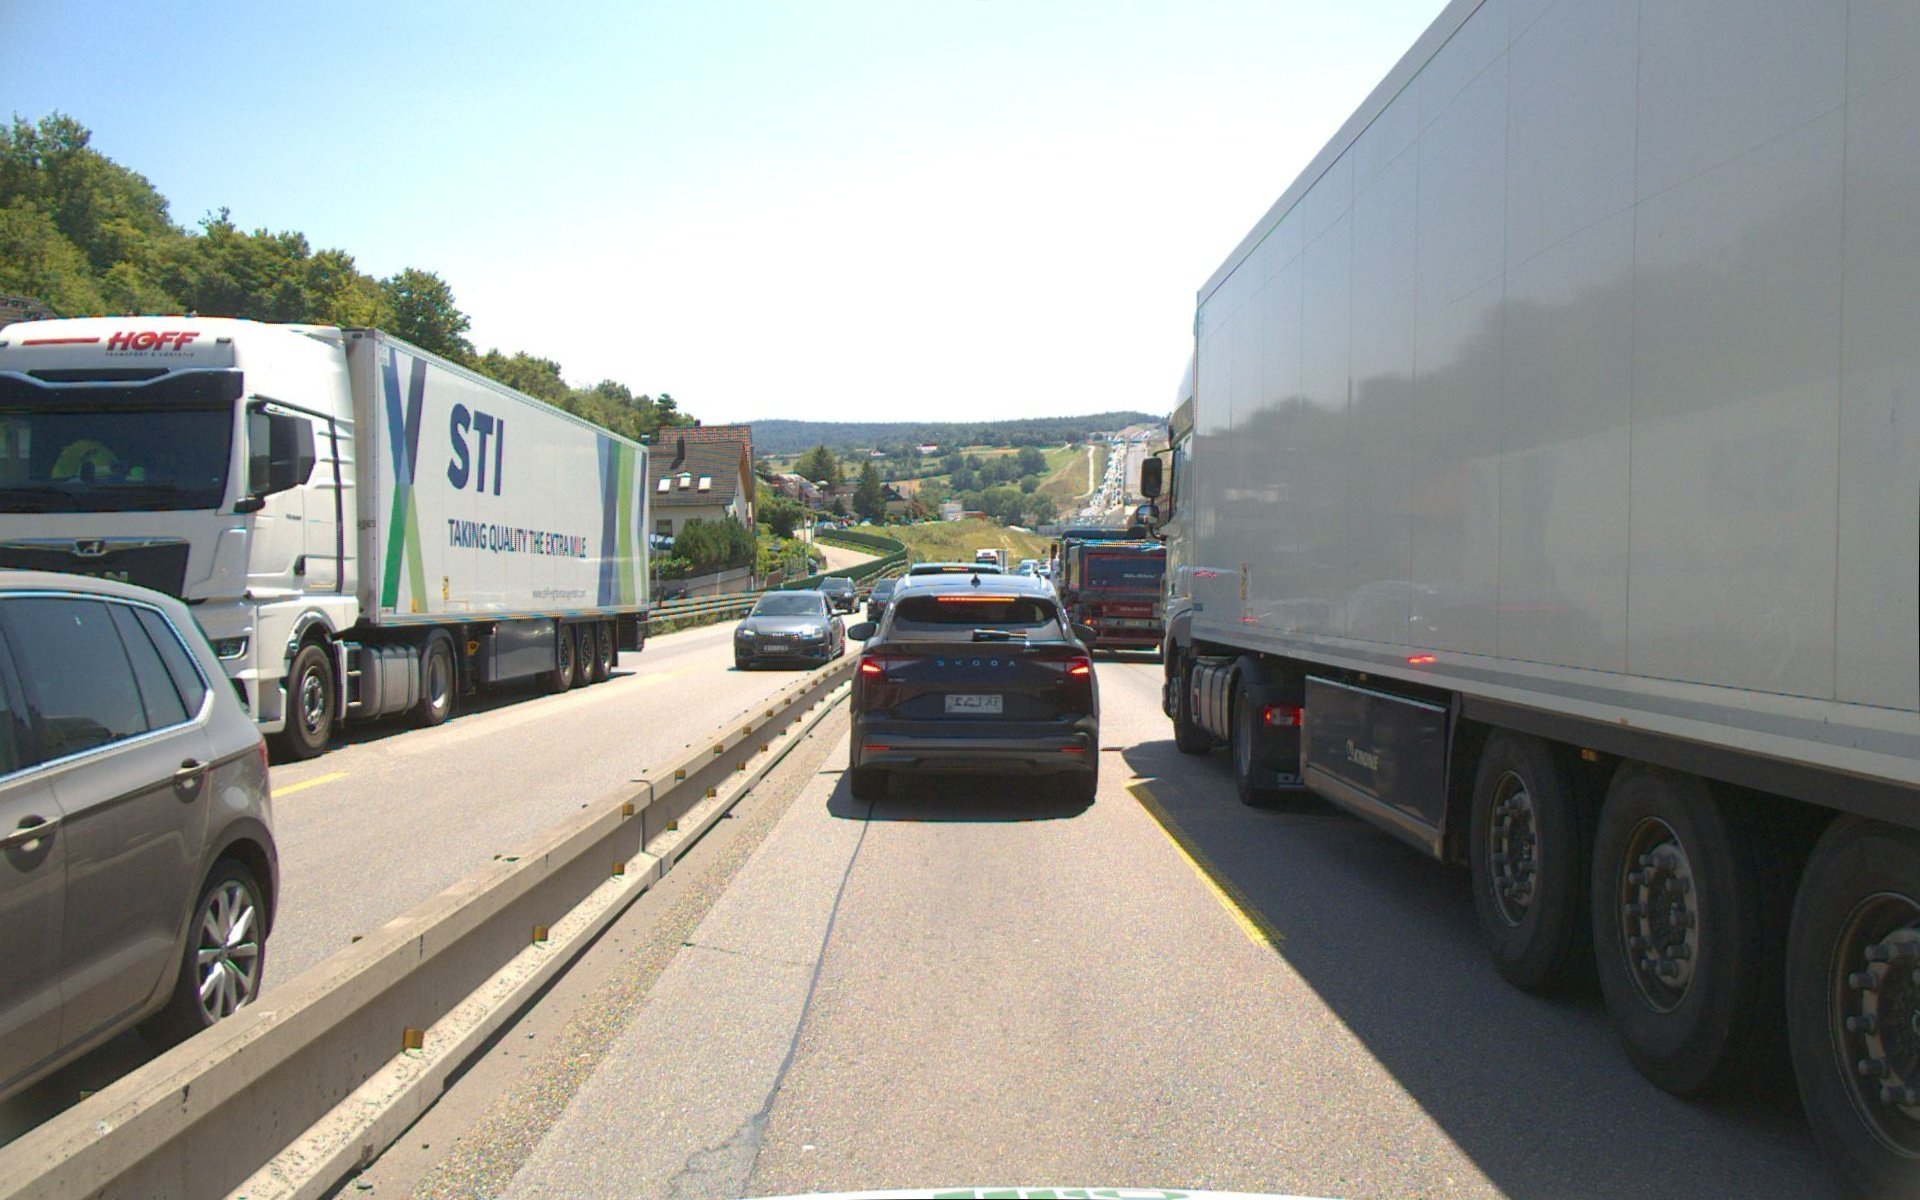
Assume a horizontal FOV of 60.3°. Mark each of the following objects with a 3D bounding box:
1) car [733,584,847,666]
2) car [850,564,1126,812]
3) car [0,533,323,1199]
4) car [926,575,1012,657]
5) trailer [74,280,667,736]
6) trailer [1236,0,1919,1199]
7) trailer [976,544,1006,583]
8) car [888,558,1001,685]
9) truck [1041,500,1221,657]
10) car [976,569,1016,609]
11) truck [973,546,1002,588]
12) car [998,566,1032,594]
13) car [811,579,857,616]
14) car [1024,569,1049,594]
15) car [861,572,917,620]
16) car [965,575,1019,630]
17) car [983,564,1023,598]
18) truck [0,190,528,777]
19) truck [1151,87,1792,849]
[{"bbox_3d":[-3.246,0.460,32.339,1.753,1.478,4.634,-1,0,0],"label":"car"},{"bbox_3d":[0.086,0.589,12.930,1.806,1.614,3.905,1,0,-3],"label":"car"},{"bbox_3d":[-3.196,0.638,4.059,1.808,1.601,3.998,0,0,-2],"label":"car"},{"bbox_3d":[0.148,0.304,36.894,1.673,1.650,3.998,1,1,-3],"label":"car"},{"bbox_3d":[-7.074,-0.897,23.404,3.185,4.455,14.058,1,0,0],"label":"trailer"},{"bbox_3d":[3.289,-0.755,6.324,2.480,4.199,11.547,1,0,0],"label":"trailer"},{"bbox_3d":[3.416,-4.016,182.776,2.699,4.141,8.013,1,2,5],"label":"trailer"},{"bbox_3d":[-0.331,0.285,27.564,1.673,1.914,3.998,1,1,-3],"label":"car"},{"bbox_3d":[3.894,-0.436,41.036,3.129,3.247,12.808,1,0,0],"label":"truck"},{"bbox_3d":[1.533,-0.504,71.538,1.672,1.650,4.001,1,1,0],"label":"car"},{"bbox_3d":[2.970,-3.528,177.817,2.694,4.358,4.960,1,1,5],"label":"truck"},{"bbox_3d":[3.294,-1.182,99.653,1.952,1.613,3.837,1,0,1],"label":"car"},{"bbox_3d":[-5.369,-0.098,70.987,1.671,1.490,3.680,1,0,0],"label":"car"},{"bbox_3d":[5.752,-1.377,124.267,1.665,1.758,3.838,1,0,5],"label":"car"},{"bbox_3d":[-2.562,-0.125,60.471,1.782,1.614,4.159,3,0,0],"label":"car"},{"bbox_3d":[1.021,0.061,53.960,1.672,1.650,4.001,1,1,0],"label":"car"},{"bbox_3d":[2.156,-0.914,82.812,1.952,1.613,3.837,1,0,1],"label":"car"},{"bbox_3d":[-7.168,-0.895,16.723,3.235,4.438,8.302,1,0,1],"label":"truck"},{"bbox_3d":[3.265,-0.711,13.106,2.462,4.095,8.237,1,0,0],"label":"truck"}]
